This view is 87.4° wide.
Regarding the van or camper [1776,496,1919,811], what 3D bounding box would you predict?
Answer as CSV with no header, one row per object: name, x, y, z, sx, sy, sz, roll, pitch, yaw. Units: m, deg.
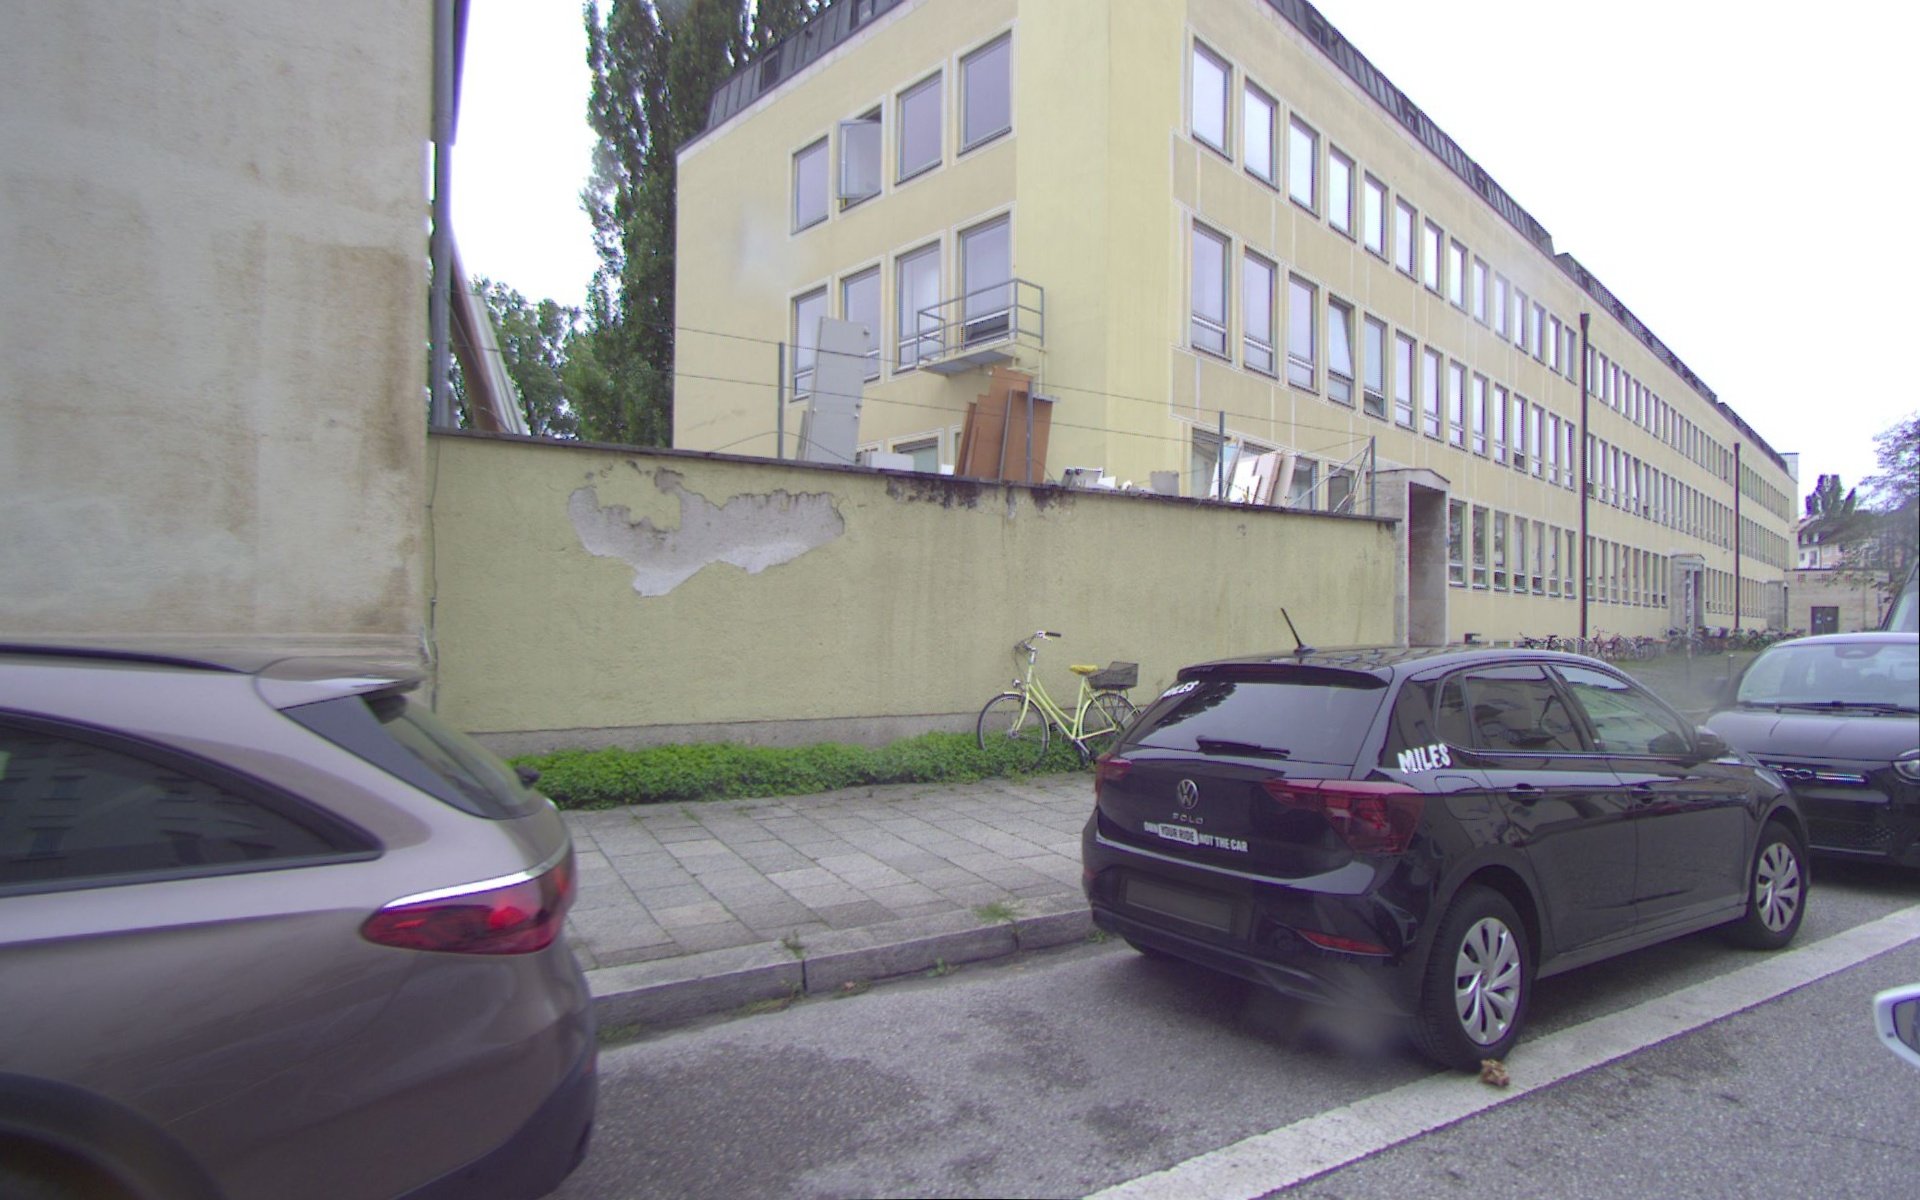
van or camper,10.655,0.491,9.790,5.494,2.685,2.283,1,-3,-29

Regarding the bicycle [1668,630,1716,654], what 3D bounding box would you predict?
bicycle,30.797,1.755,42.271,1.585,0.957,0.501,1,0,41

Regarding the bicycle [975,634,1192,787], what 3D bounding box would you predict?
bicycle,1.128,0.942,9.063,1.847,1.250,0.798,2,-2,-31

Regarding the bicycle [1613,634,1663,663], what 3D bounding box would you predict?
bicycle,23.728,1.691,35.176,0.411,0.957,1.393,1,0,-43

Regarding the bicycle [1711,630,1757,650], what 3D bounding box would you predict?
bicycle,40.116,2.044,52.077,1.836,0.957,0.412,1,0,41

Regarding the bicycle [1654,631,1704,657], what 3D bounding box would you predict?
bicycle,29.153,1.777,40.728,1.585,0.957,0.501,1,0,41

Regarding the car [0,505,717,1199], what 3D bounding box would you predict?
car,-3.124,0.658,1.638,5.028,1.562,1.856,1,-3,-29

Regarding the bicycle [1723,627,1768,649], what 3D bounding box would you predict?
bicycle,42.171,2.024,53.946,1.825,1.110,0.698,1,0,43

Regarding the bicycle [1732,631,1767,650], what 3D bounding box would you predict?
bicycle,41.350,2.110,52.647,1.387,0.957,0.413,1,0,32

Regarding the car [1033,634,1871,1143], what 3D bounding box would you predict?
car,2.536,0.911,4.797,4.241,1.455,1.666,1,-3,-34

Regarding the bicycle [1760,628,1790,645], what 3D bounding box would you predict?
bicycle,51.577,2.309,63.590,1.455,0.957,0.412,1,0,43

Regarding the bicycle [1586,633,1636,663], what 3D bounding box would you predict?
bicycle,22.387,1.641,34.553,0.410,0.957,1.398,1,0,-33

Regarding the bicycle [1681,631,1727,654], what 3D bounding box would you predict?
bicycle,32.516,1.852,43.896,1.583,0.957,0.501,1,0,36

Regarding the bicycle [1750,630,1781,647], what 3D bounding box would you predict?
bicycle,47.708,2.254,59.524,1.391,0.957,0.412,1,0,43

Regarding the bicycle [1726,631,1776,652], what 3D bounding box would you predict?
bicycle,40.154,2.093,50.989,0.411,0.957,1.933,1,0,-43

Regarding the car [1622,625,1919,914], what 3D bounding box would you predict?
car,6.328,0.952,6.860,3.868,1.516,1.643,1,-3,-34

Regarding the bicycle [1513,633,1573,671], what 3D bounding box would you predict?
bicycle,15.847,1.404,27.318,1.386,0.957,0.413,1,0,31
